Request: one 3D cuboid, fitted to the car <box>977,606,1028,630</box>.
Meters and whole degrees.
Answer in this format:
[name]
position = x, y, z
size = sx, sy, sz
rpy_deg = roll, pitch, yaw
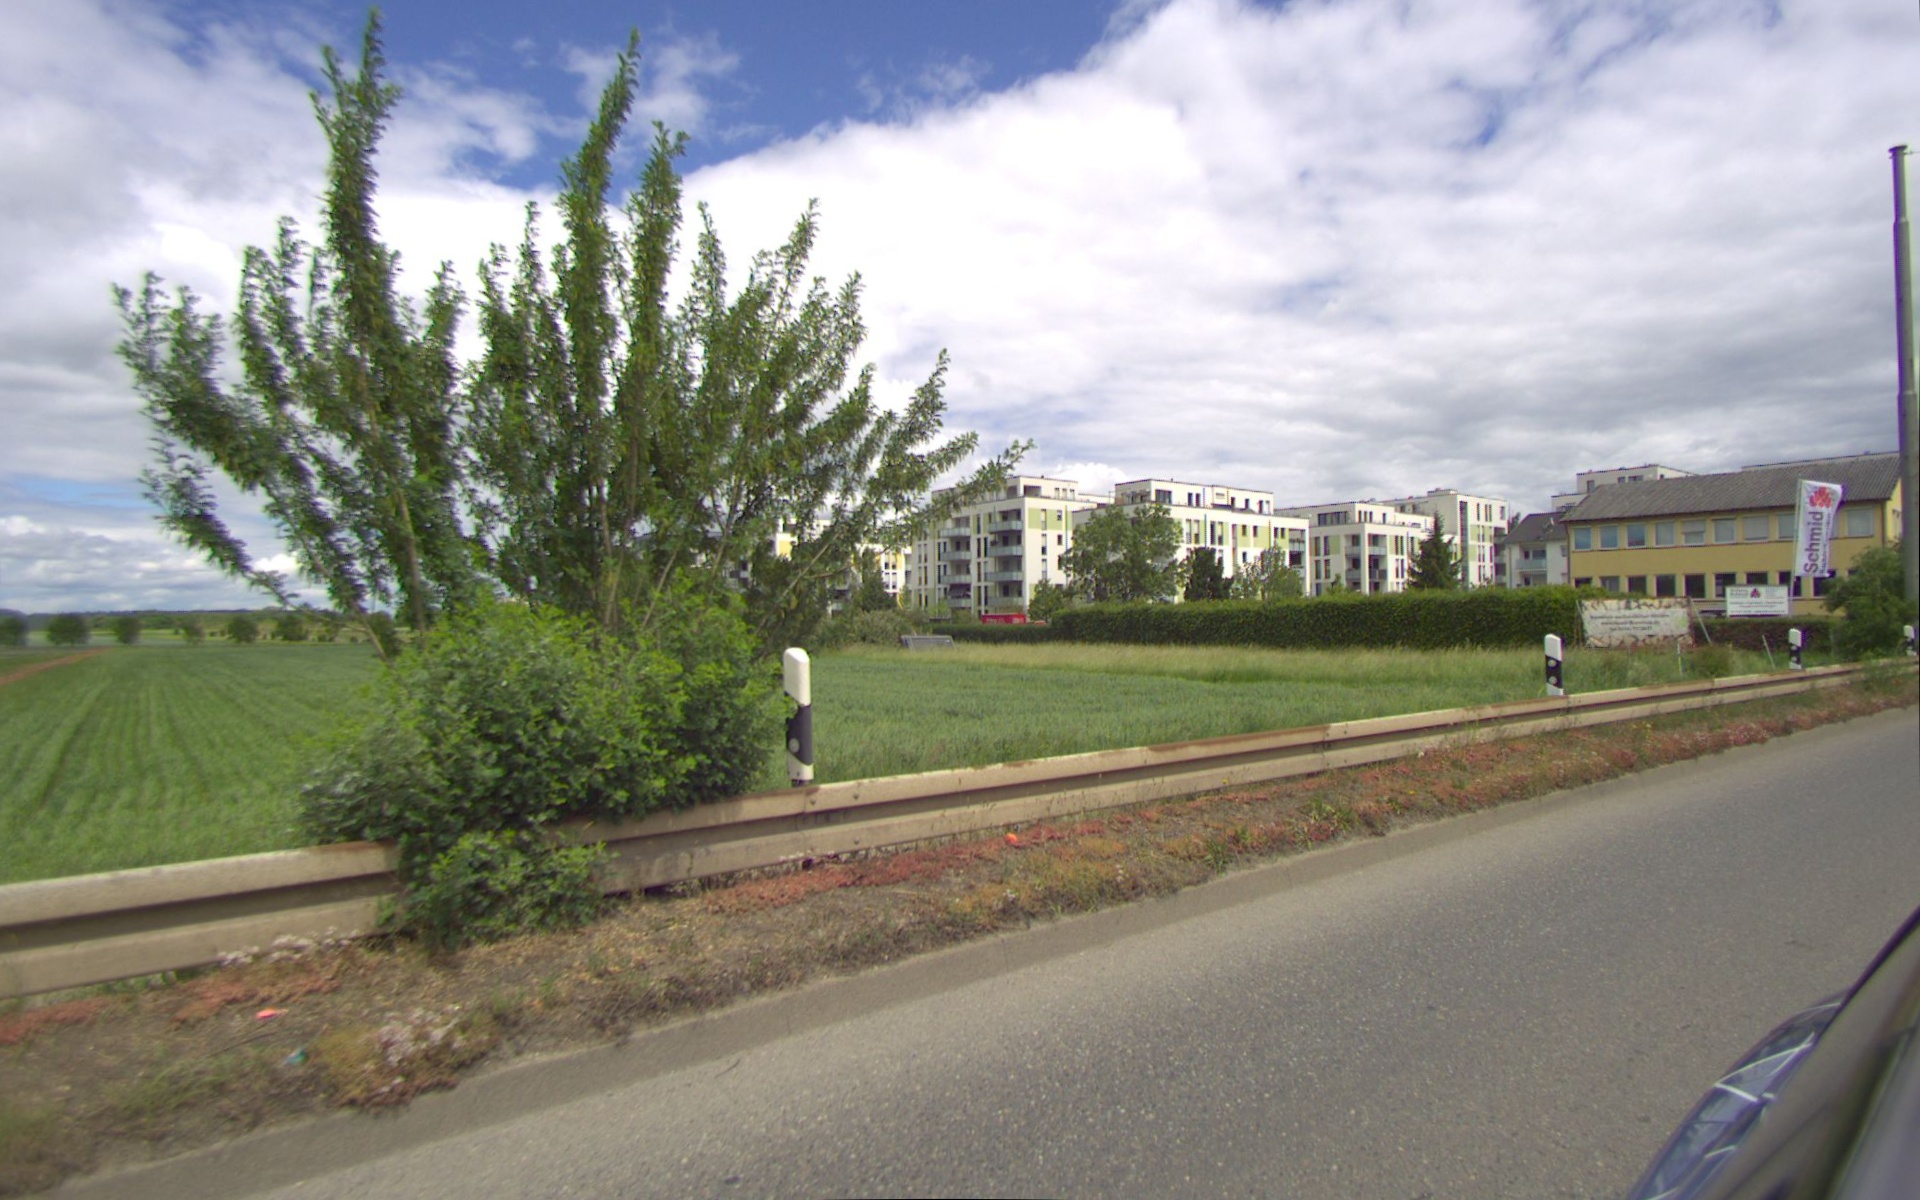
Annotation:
[car]
position = 3.743, 1.585, 89.607
size = 1.966, 2.039, 4.432
rpy_deg = 0, 0, -41
